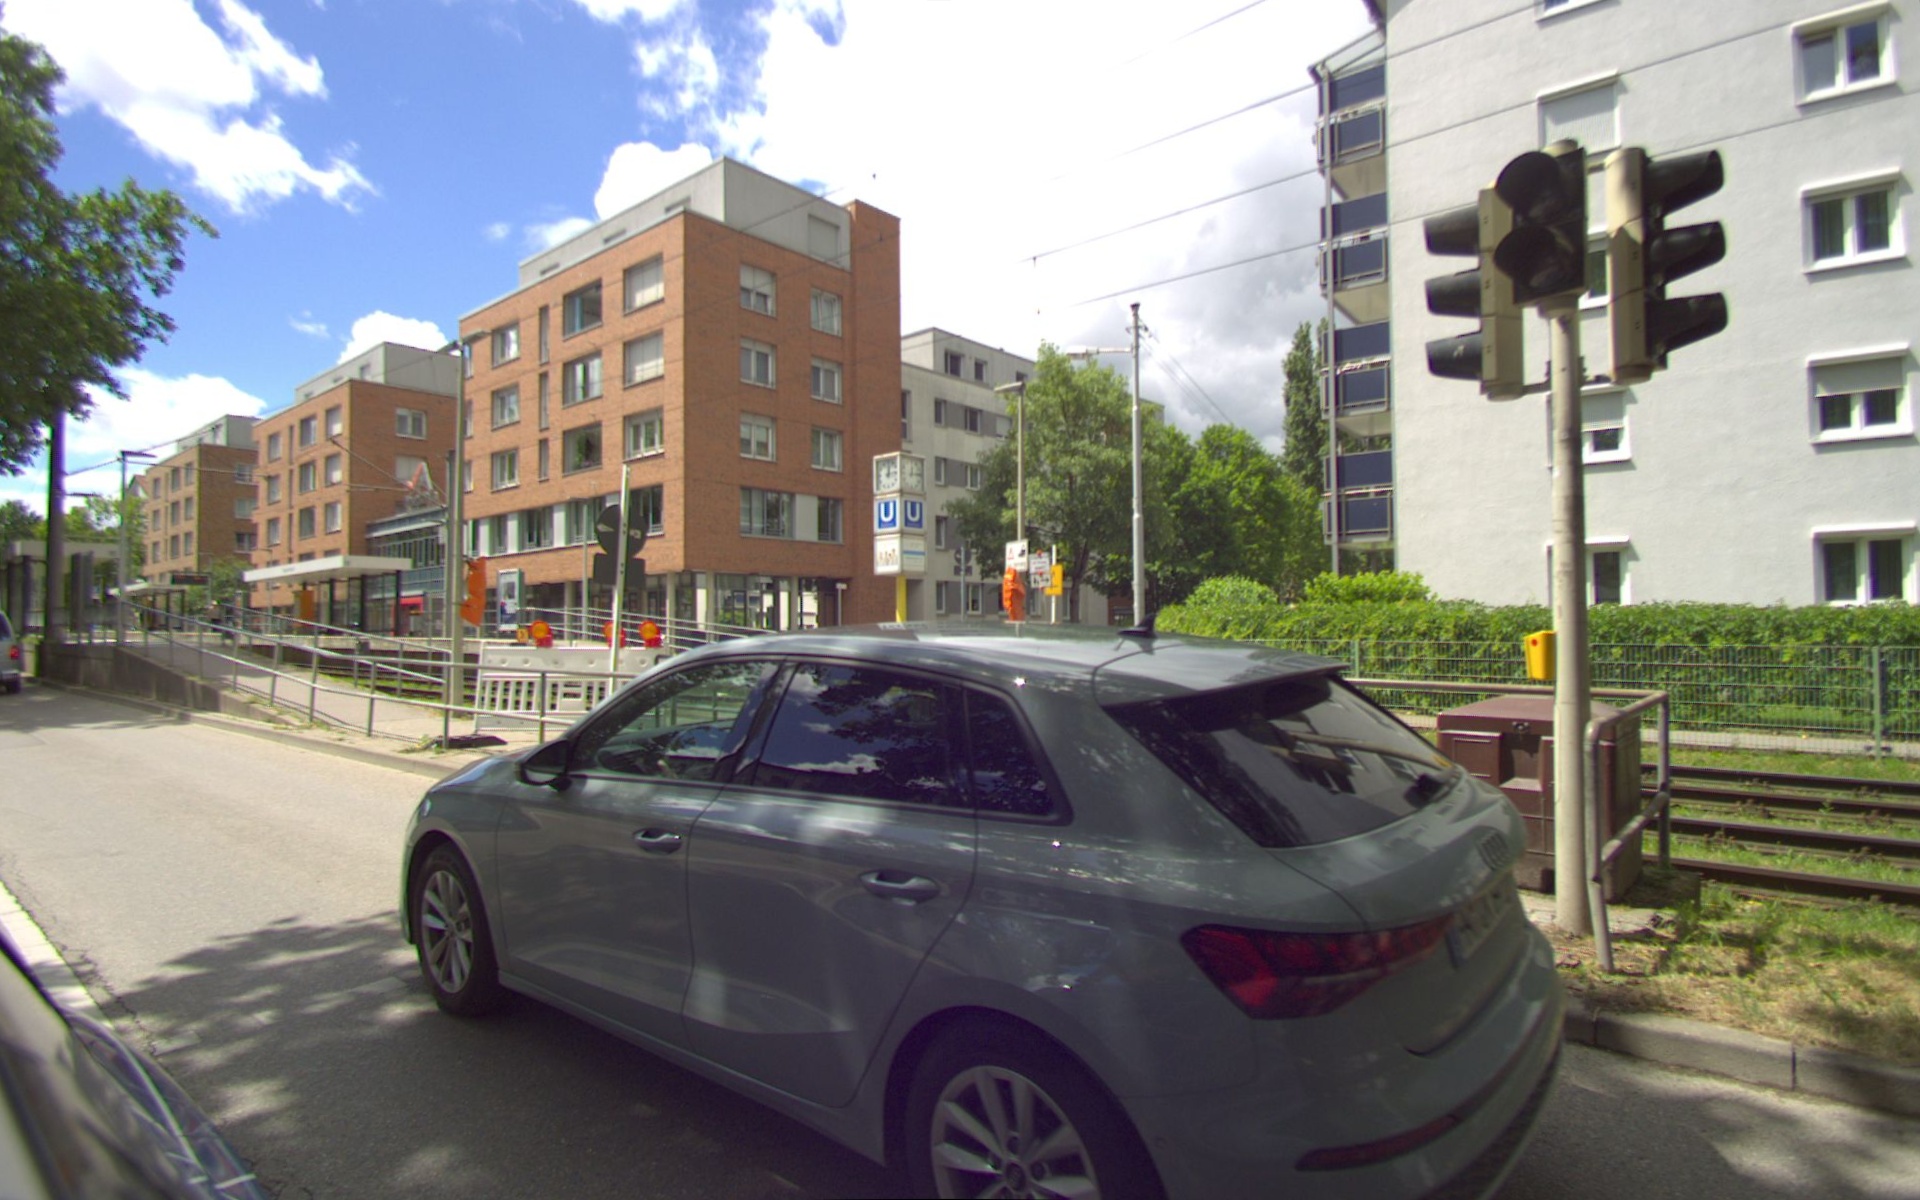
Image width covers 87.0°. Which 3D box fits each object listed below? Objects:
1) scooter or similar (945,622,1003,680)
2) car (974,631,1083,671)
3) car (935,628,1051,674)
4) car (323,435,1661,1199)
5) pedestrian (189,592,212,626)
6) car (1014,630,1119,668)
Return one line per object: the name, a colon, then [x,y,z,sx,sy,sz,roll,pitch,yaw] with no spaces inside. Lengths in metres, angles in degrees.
scooter or similar: [0.321,1.122,22.490,1.281,1.263,0.466,2,-3,-41]
car: [2.615,1.948,39.323,4.001,1.437,1.823,-1,-3,44]
car: [1.175,1.833,37.271,3.999,1.564,1.874,-1,-3,42]
car: [-0.272,0.554,3.064,3.846,1.446,1.620,-1,-1,38]
pedestrian: [-37.890,0.452,50.492,0.815,1.641,0.743,-1,-1,40]
car: [4.293,1.964,41.126,4.001,1.437,1.823,-1,-3,44]
